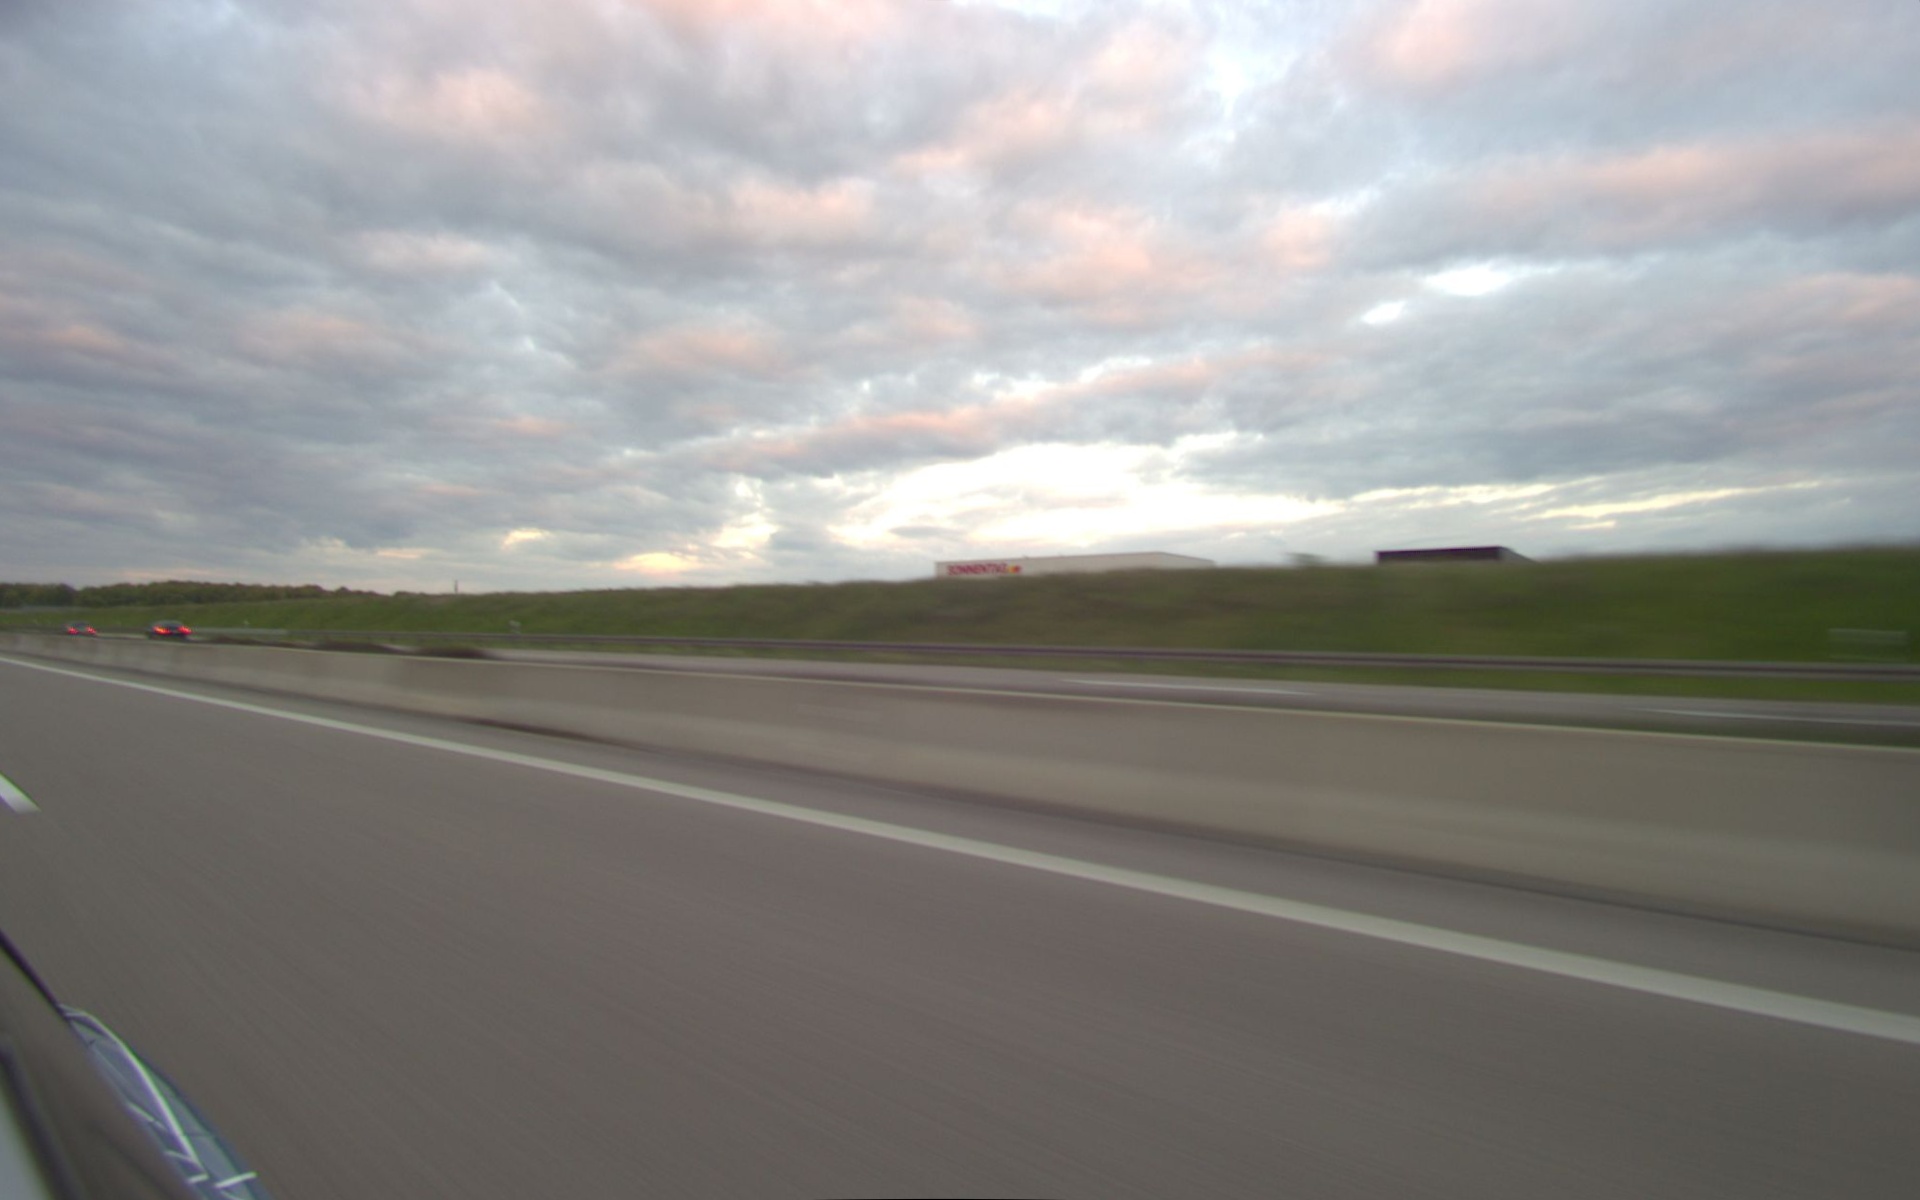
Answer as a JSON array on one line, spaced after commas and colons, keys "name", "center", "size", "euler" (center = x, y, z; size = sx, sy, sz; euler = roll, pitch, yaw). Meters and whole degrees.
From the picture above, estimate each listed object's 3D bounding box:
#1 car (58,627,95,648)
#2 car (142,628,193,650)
[{"name": "car", "center": [-70.612, 2.965, 80.854], "size": [3.999, 1.641, 1.800], "euler": [-1, -2, 43]}, {"name": "car", "center": [-59.114, 2.873, 75.486], "size": [5.195, 1.614, 1.973], "euler": [-1, -2, 40]}]
